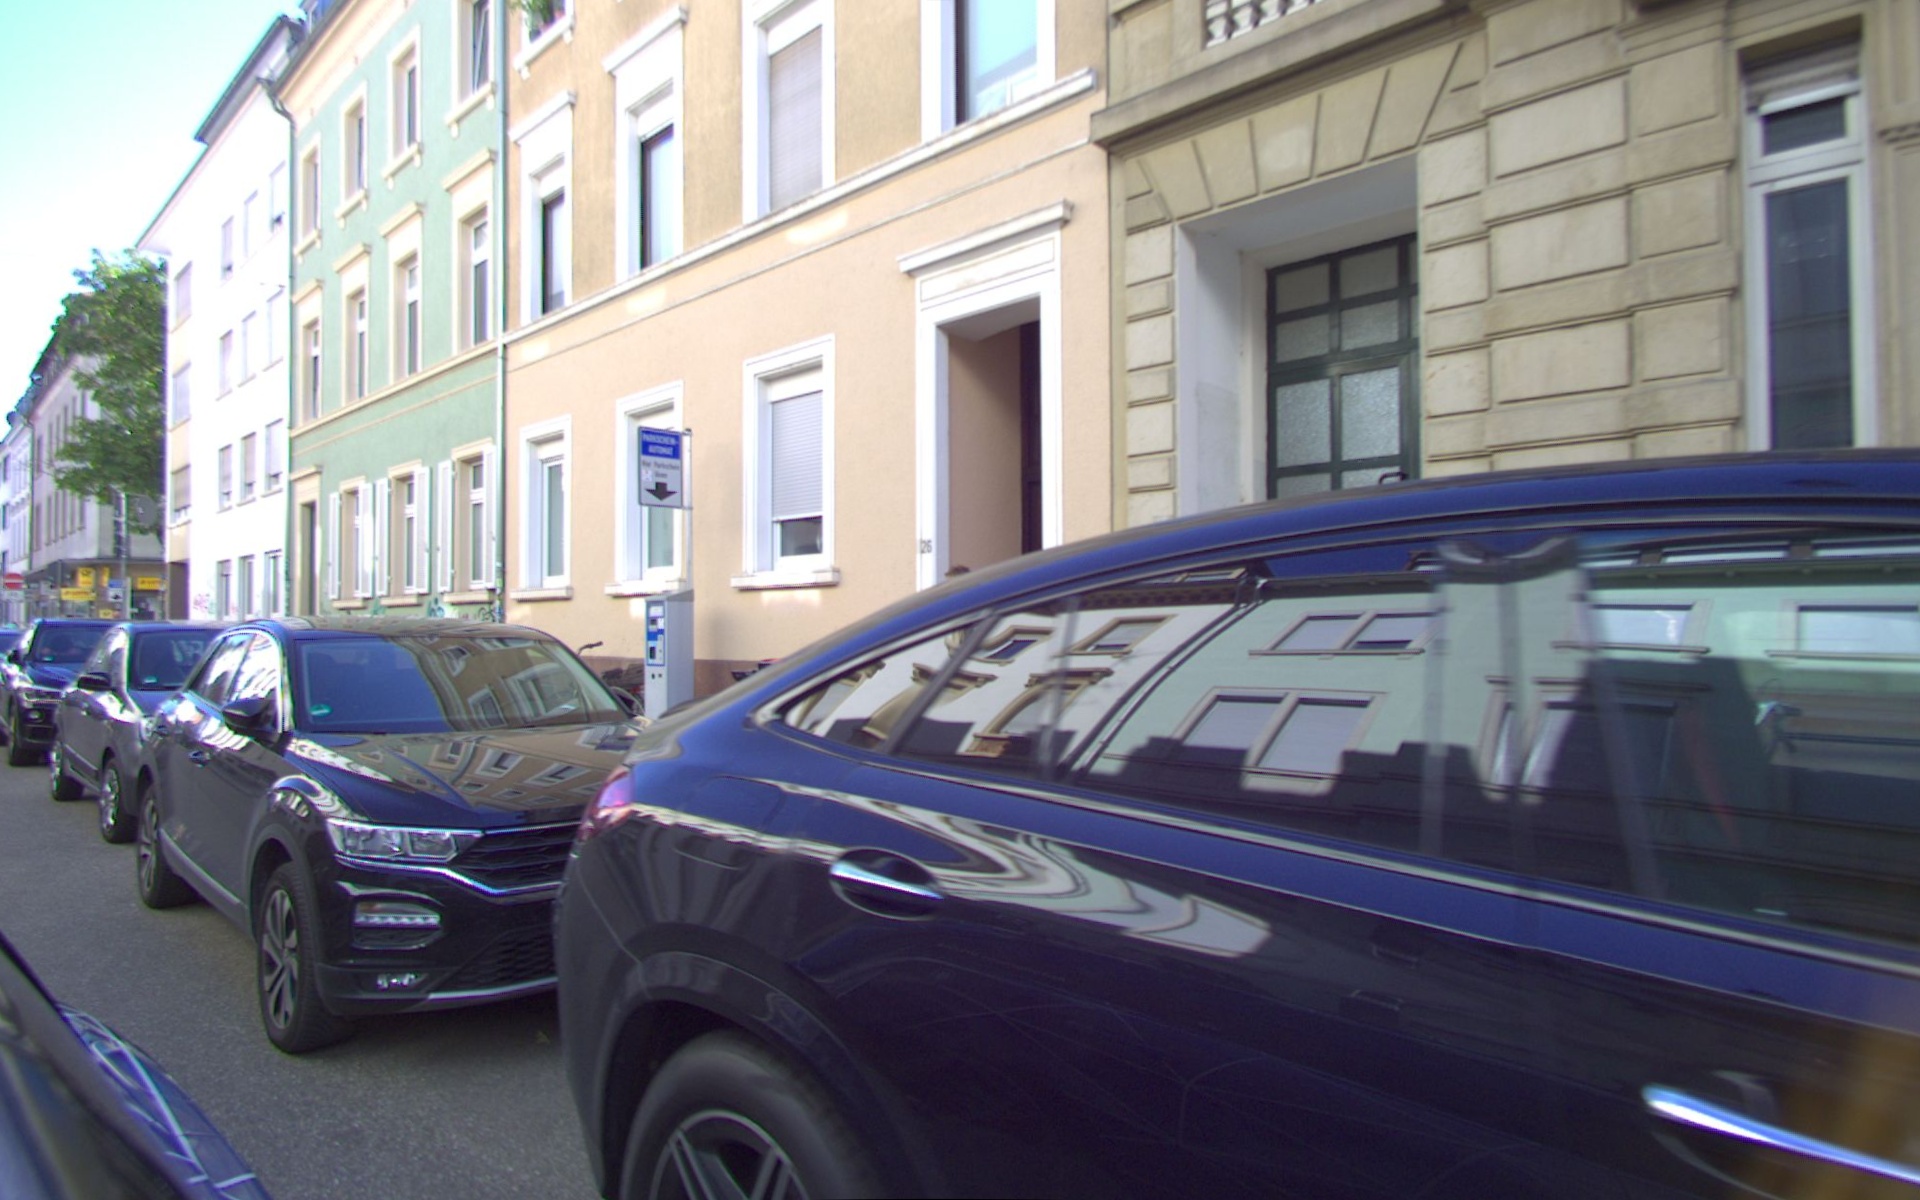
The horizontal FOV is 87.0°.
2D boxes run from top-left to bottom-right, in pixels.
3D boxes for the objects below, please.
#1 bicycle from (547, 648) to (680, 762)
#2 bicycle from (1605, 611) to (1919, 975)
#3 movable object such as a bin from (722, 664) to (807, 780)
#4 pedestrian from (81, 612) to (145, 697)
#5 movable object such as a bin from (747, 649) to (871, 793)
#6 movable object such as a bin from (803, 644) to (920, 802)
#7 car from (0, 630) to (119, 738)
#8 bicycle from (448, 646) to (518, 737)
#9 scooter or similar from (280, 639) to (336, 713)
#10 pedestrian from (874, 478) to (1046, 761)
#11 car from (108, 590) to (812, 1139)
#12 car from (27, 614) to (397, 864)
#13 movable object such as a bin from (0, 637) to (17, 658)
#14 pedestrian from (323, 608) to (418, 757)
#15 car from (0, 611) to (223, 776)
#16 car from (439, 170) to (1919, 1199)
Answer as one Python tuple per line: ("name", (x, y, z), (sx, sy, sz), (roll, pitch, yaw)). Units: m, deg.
("bicycle", (-3.663, 1.063, 10.620), (1.835, 1.064, 0.398), (-1, -2, 39))
("bicycle", (3.559, 0.687, 3.787), (1.867, 1.286, 0.505), (-1, -2, 43))
("movable object such as a bin", (-1.718, 1.051, 8.898), (0.560, 0.944, 0.468), (-2, -1, 40))
("pedestrian", (-18.966, 1.193, 22.668), (1.245, 1.846, 0.901), (-1, -2, 42))
("movable object such as a bin", (-1.240, 0.965, 8.339), (0.682, 1.097, 0.728), (-3, -3, 38))
("movable object such as a bin", (-0.768, 0.928, 7.937), (0.584, 1.140, 0.712), (-1, -2, 38))
("car", (-14.933, 1.242, 16.008), (4.850, 1.500, 1.695), (-1, -4, 41))
("bicycle", (-6.108, 1.126, 12.910), (0.356, 1.036, 1.921), (1, -2, -38))
("scooter or similar", (-11.328, 1.288, 17.559), (1.692, 1.190, 0.448), (-1, -2, 45))
("pedestrian", (0.002, 0.138, 7.232), (0.883, 1.850, 0.856), (-1, -2, 42))
("car", (-2.764, 0.813, 4.995), (4.367, 1.543, 1.694), (-2, -3, 44))
("car", (-6.231, 0.928, 8.265), (3.976, 1.565, 1.599), (-2, -2, 41))
("movable object such as a bin", (-49.175, 2.451, 52.143), (0.695, 1.080, 0.778), (-1, -2, 38))
("pedestrian", (-7.202, 0.970, 12.363), (0.883, 1.727, 0.756), (-1, 0, 41))
("car", (-10.496, 1.018, 12.187), (4.602, 1.627, 1.725), (-2, -4, 43))
("car", (1.354, 0.604, 1.329), (5.140, 1.749, 1.915), (-2, -3, 42))
